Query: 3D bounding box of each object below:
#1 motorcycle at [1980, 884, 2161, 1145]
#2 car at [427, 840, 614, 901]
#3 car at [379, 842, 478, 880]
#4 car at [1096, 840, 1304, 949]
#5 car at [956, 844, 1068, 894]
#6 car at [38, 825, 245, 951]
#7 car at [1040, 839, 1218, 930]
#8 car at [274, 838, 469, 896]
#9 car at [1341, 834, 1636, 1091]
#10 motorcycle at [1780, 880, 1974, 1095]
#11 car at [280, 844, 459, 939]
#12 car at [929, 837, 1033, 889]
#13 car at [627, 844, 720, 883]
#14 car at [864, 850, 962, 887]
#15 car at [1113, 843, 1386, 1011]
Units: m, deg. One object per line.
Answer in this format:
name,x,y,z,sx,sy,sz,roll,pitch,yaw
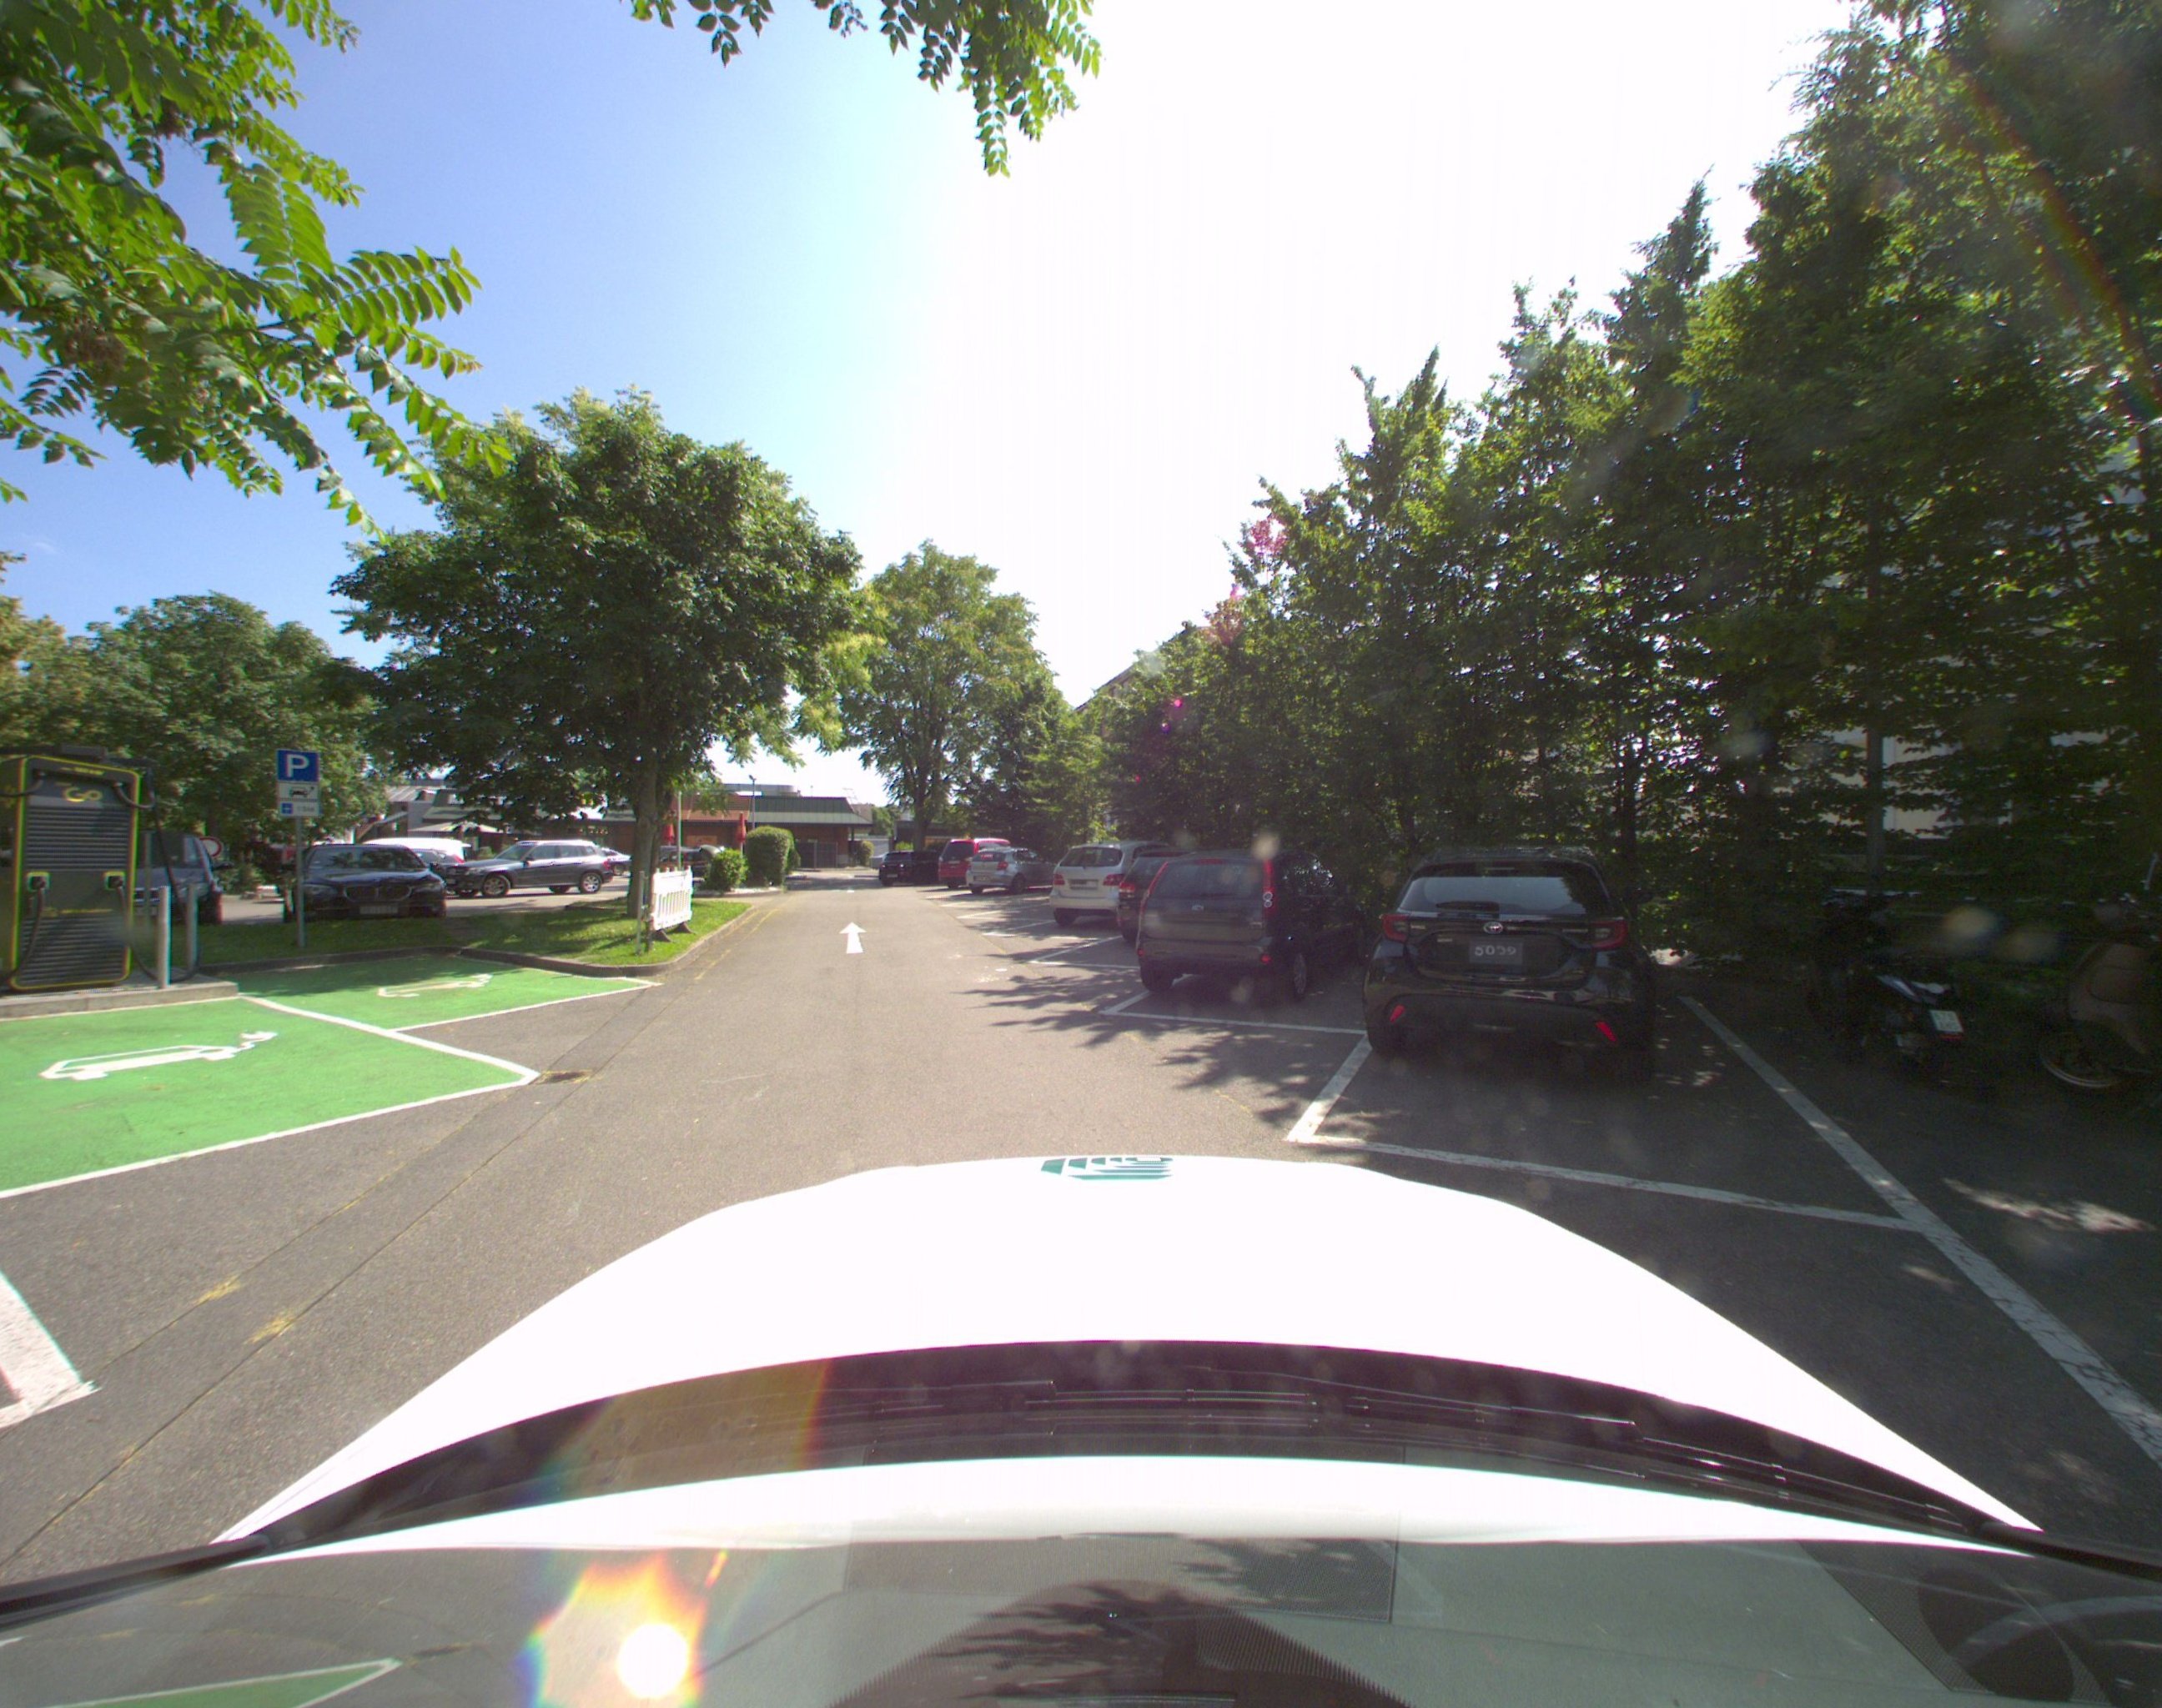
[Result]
motorcycle,5.379,0.764,3.990,0.564,1.169,1.613,-1,0,18
car,-17.144,0.450,25.154,1.839,1.686,4.393,0,0,27
car,-28.674,0.270,35.770,4.090,1.552,1.932,0,0,28
car,2.120,0.553,13.545,1.751,1.469,4.026,-1,1,35
car,-2.155,0.447,26.568,1.752,1.475,4.024,-1,0,26
car,-14.894,0.462,13.060,4.312,1.686,1.873,1,-2,42
car,1.095,0.515,16.365,1.751,1.572,4.026,-1,1,34
car,-22.560,0.363,26.106,1.839,1.686,4.339,0,0,28
car,3.501,0.601,6.828,1.640,1.469,3.929,-1,1,31
motorcycle,5.177,0.776,5.395,0.469,1.141,1.615,-1,0,28
car,-12.837,0.579,14.602,4.312,1.453,1.873,1,-1,42
car,-3.571,0.274,29.781,1.752,1.734,4.024,-2,0,28
car,-19.369,0.391,38.678,4.311,1.685,1.874,1,2,30
car,-6.761,0.549,33.161,1.752,1.389,4.024,-1,0,28
car,2.149,0.636,9.396,1.682,1.453,4.026,-1,1,33
